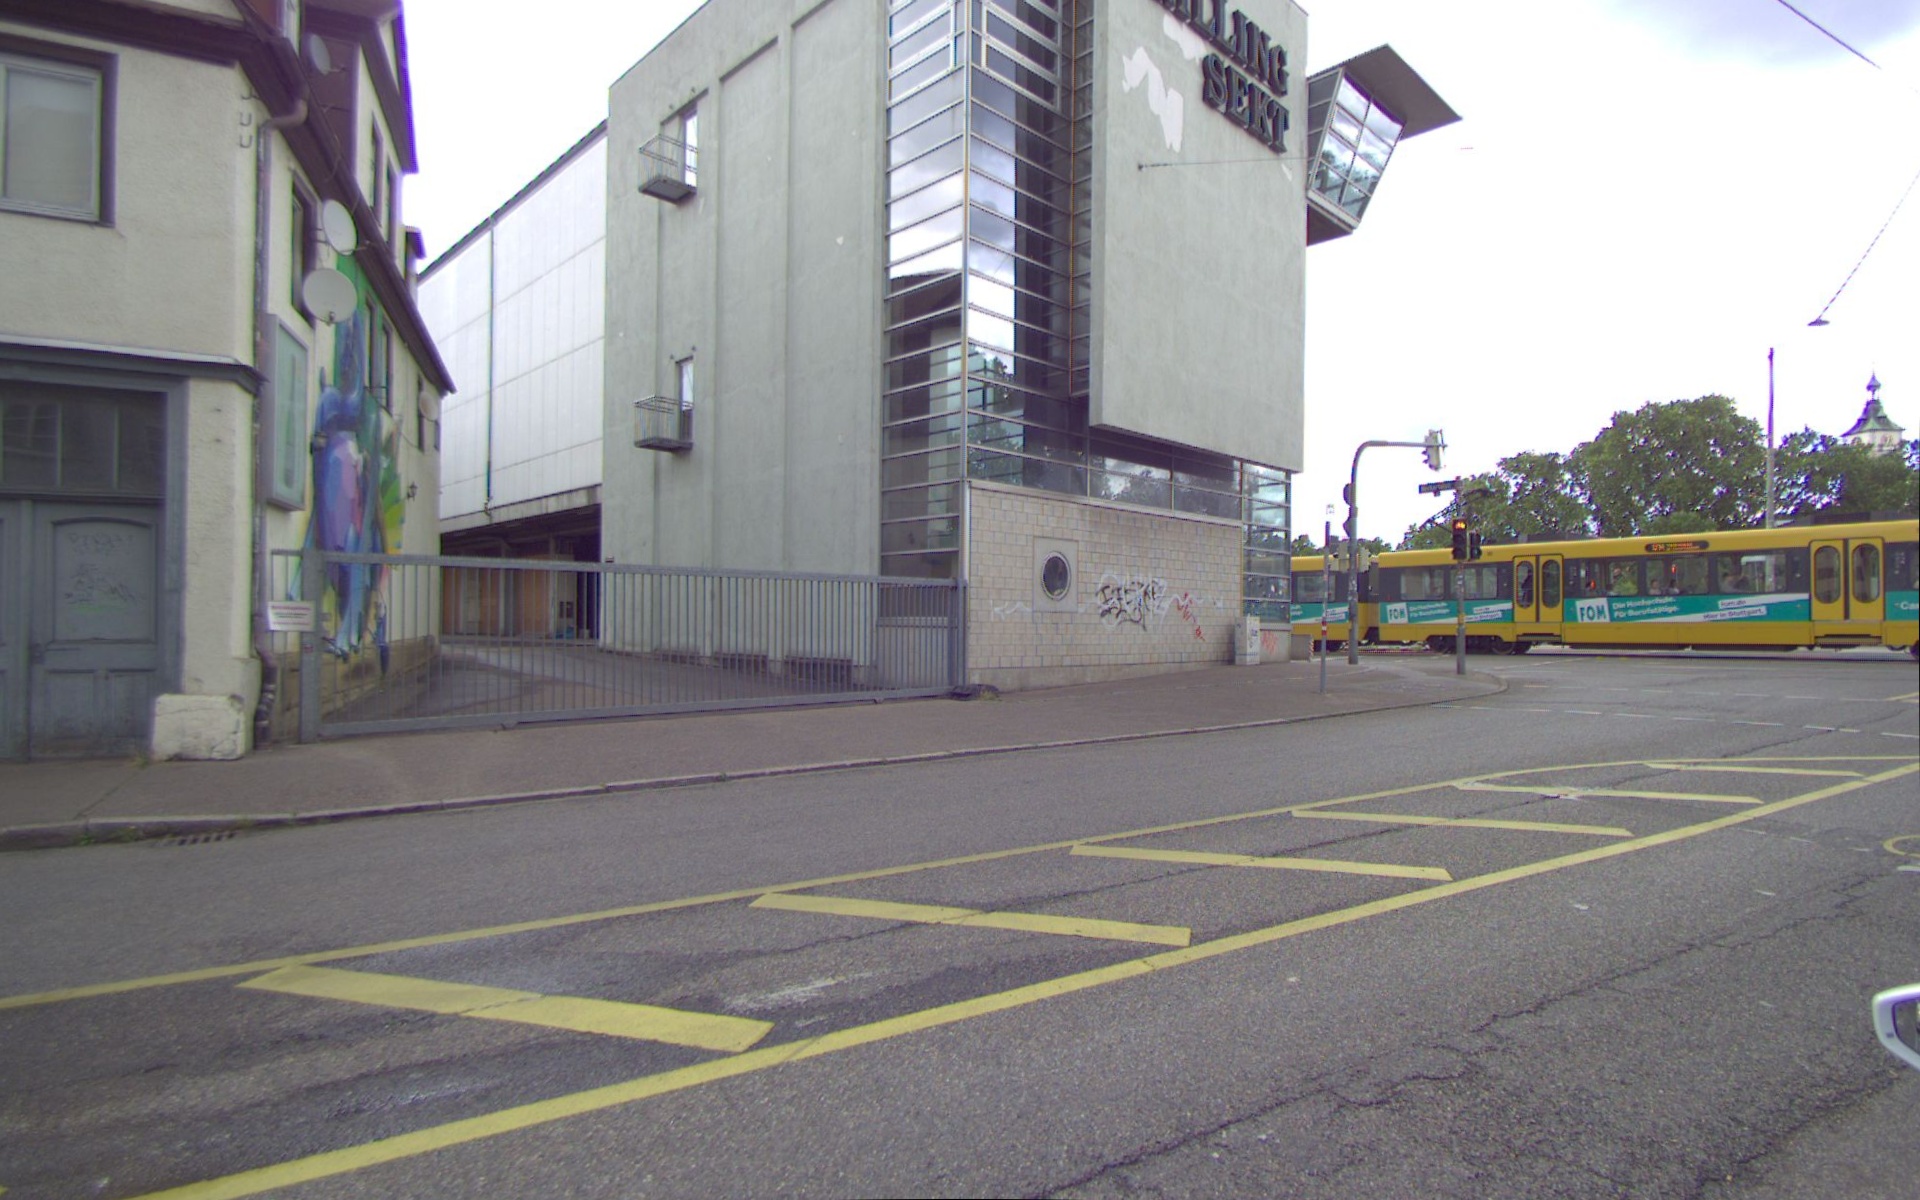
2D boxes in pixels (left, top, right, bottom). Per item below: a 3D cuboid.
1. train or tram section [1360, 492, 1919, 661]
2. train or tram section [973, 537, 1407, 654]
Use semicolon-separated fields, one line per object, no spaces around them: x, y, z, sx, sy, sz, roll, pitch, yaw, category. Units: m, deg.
21.197;-0.469;28.875;3.239;4.056;18.612;-2;0;-40;train or tram section
8.573;0.138;42.638;19.032;4.056;3.288;-3;-1;45;train or tram section
